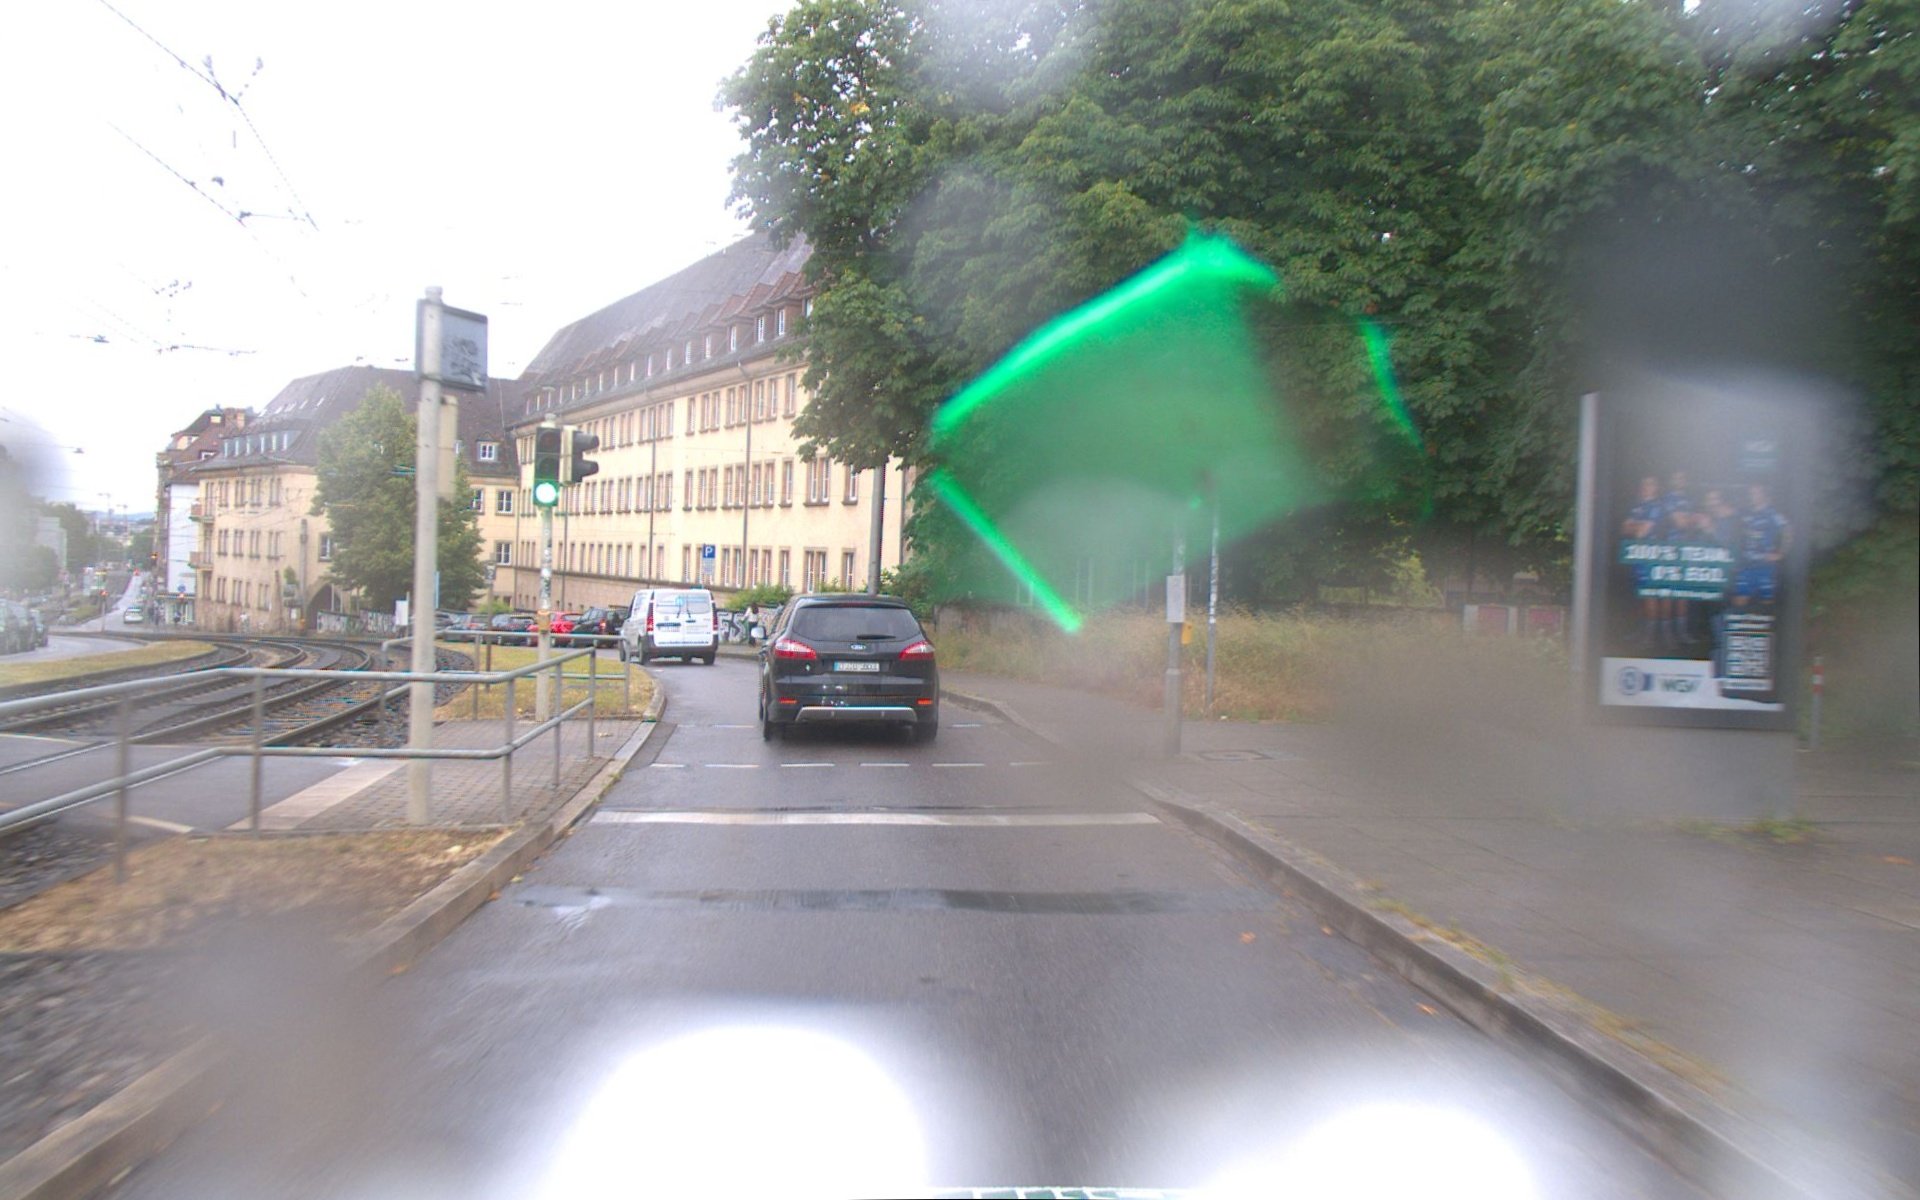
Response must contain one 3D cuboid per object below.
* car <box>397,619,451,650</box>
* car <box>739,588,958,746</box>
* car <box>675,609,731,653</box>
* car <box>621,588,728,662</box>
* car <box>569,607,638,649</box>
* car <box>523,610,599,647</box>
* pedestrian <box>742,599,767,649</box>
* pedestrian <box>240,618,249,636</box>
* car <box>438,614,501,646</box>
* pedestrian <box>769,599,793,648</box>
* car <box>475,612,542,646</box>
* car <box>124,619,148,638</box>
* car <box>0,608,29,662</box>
[{"bbox_3d":[-27.466,1.749,84.664,1.650,1.551,4.061,0,-1,-33],"label":"car"},{"bbox_3d":[-1.317,0.653,17.864,1.886,1.505,3.989,0,0,-11],"label":"car"},{"bbox_3d":[-9.114,1.071,58.492,1.573,1.491,2.707,0,-1,-17],"label":"car"},{"bbox_3d":[-7.360,0.624,42.329,2.104,1.776,4.195,0,0,-19],"label":"car"},{"bbox_3d":[-14.355,1.129,66.421,1.648,1.600,3.817,0,-1,-29],"label":"car"},{"bbox_3d":[-17.113,1.222,70.799,1.653,1.502,4.011,2,-2,-37],"label":"car"},{"bbox_3d":[-7.538,0.878,60.579,0.708,1.785,0.733,0,-1,-25],"label":"pedestrian"},{"bbox_3d":[-53.353,1.983,123.302,0.500,1.339,0.504,1,-1,-37],"label":"pedestrian"},{"bbox_3d":[-23.776,1.438,80.068,1.652,1.502,4.056,0,-1,-36],"label":"car"},{"bbox_3d":[-6.609,0.860,61.063,0.708,1.785,0.733,0,-1,-25],"label":"pedestrian"},{"bbox_3d":[-20.553,1.303,75.152,1.650,1.502,4.405,0,-1,-33],"label":"car"},{"bbox_3d":[-82.636,2.866,165.897,1.969,1.803,3.967,1,-1,-26],"label":"car"},{"bbox_3d":[-31.020,1.100,52.792,1.708,1.673,4.499,2,-2,-23],"label":"car"}]
